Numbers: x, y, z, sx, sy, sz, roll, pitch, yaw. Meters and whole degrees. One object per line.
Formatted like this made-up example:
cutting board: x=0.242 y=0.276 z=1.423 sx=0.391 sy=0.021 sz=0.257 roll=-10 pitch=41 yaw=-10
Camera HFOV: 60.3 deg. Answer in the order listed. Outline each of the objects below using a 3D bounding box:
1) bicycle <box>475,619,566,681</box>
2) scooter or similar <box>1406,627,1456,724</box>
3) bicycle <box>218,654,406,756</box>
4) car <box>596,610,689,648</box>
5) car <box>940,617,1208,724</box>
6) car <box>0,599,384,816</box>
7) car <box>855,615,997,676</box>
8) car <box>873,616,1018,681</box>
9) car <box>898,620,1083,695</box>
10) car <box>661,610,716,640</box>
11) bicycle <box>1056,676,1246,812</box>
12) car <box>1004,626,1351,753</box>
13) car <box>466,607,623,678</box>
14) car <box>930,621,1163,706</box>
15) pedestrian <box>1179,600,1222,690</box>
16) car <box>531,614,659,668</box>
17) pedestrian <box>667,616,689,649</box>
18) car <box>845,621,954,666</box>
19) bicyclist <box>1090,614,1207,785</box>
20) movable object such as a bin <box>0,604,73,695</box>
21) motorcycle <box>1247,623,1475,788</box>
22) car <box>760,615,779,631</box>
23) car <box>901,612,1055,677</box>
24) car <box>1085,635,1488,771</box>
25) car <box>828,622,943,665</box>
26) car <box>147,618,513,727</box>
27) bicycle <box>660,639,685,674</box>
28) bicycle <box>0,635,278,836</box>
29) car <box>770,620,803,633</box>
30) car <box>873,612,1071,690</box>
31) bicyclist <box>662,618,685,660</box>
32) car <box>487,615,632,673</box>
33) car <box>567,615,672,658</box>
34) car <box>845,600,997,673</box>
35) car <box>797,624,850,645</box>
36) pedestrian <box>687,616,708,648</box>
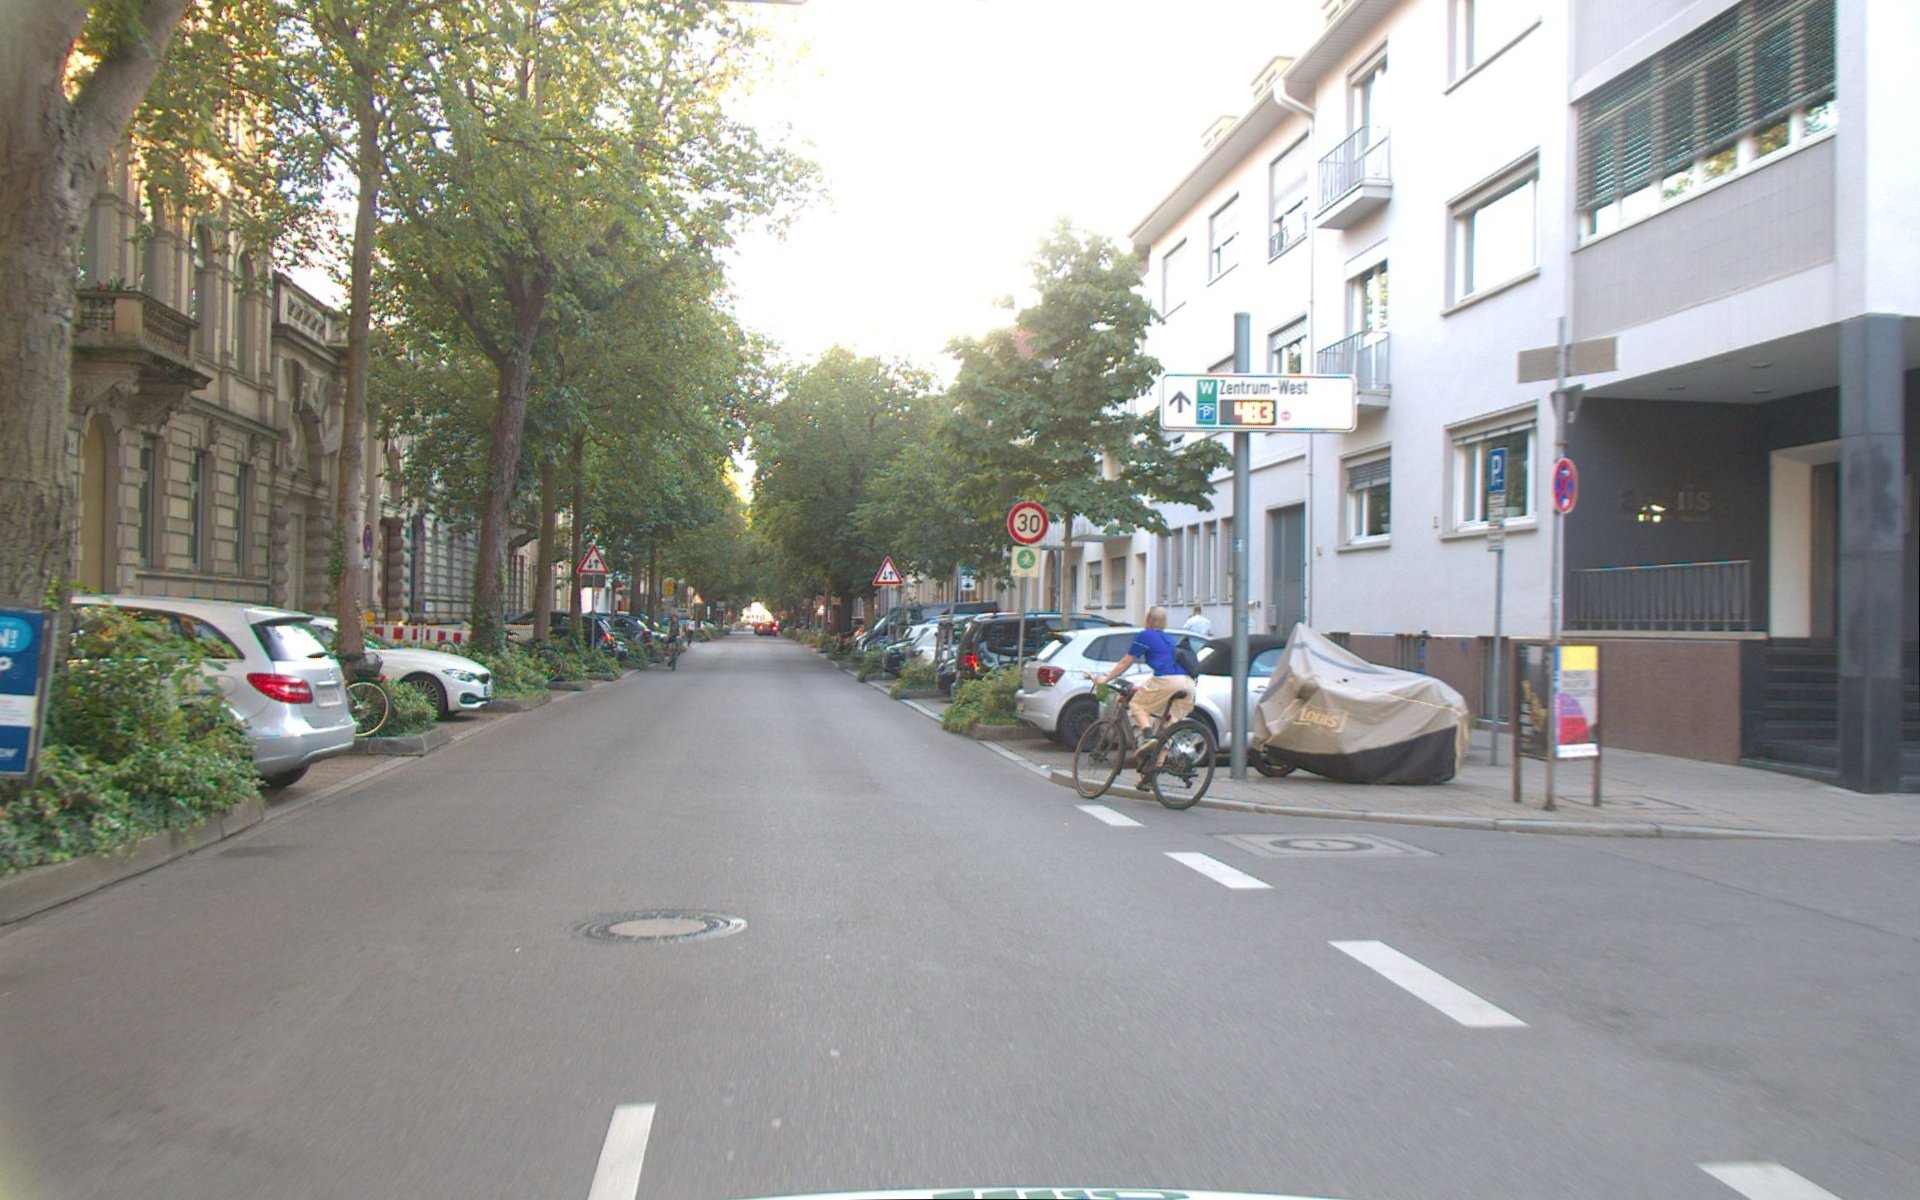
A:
bicycle: x=-9.117 y=1.046 z=34.347 sx=1.735 sy=1.254 sz=0.500 roll=1 pitch=-2 yaw=-2
scooter or similar: x=6.406 y=1.007 z=22.535 sx=0.338 sy=1.261 sz=1.421 roll=0 pitch=-1 yaw=3
bicycle: x=-6.980 y=1.129 z=17.874 sx=1.760 sy=1.027 sz=0.597 roll=2 pitch=-2 yaw=-7
car: x=-15.716 y=1.436 z=81.998 sx=4.341 sy=1.680 sz=1.870 roll=2 pitch=-1 yaw=-7
car: x=1.781 y=1.108 z=26.697 sx=4.031 sy=1.646 sz=1.958 roll=0 pitch=-1 yaw=-7
car: x=-6.940 y=0.803 z=13.133 sx=4.089 sy=1.584 sz=1.824 roll=1 pitch=-1 yaw=-5
car: x=-1.067 y=1.379 z=50.551 sx=4.079 sy=1.606 sz=1.965 roll=-3 pitch=-1 yaw=-9
car: x=-0.441 y=1.373 z=47.503 sx=3.892 sy=1.606 sz=1.848 roll=-3 pitch=-1 yaw=-9
car: x=0.662 y=1.293 z=37.812 sx=3.995 sy=1.454 sz=1.816 roll=-3 pitch=-1 yaw=-6
car: x=-23.872 y=2.234 z=145.577 sx=4.594 sy=2.521 sz=1.996 roll=1 pitch=-2 yaw=-8
bicycle: x=1.566 y=1.175 z=13.924 sx=0.663 sy=1.048 sz=1.961 roll=3 pitch=-3 yaw=-25
car: x=2.600 y=1.070 z=20.283 sx=3.911 sy=1.463 sz=1.791 roll=0 pitch=-1 yaw=-7
car: x=-11.414 y=1.167 z=45.688 sx=3.891 sy=1.624 sz=1.777 roll=5 pitch=-2 yaw=-7
car: x=1.633 y=1.198 z=32.061 sx=4.234 sy=1.522 sz=1.790 roll=-1 pitch=-1 yaw=-9
pedestrian: x=4.937 y=0.922 z=34.010 sx=0.684 sy=1.827 sz=0.879 roll=0 pitch=-1 yaw=-7
car: x=-12.765 y=1.417 z=58.045 sx=4.121 sy=1.701 sz=1.904 roll=2 pitch=-1 yaw=-7
pedestrian: x=-15.023 y=1.717 z=88.103 sx=0.812 sy=1.767 sz=0.796 roll=-1 pitch=-1 yaw=27
car: x=-2.321 y=1.654 z=62.932 sx=3.914 sy=1.463 sz=1.922 roll=-3 pitch=-1 yaw=-9
bicyclist: x=1.580 y=0.838 z=13.934 sx=0.663 sy=1.388 sz=0.770 roll=3 pitch=-3 yaw=-25
movable object such as a bin: x=-11.801 y=0.600 z=20.668 sx=0.785 sy=1.080 sz=1.314 roll=3 pitch=-1 yaw=-8
motorcycle: x=3.559 y=0.922 z=14.853 sx=1.867 sy=1.417 sz=1.000 roll=0 pitch=-1 yaw=6
car: x=-19.265 y=2.353 z=167.224 sx=1.919 sy=1.593 sz=4.275 roll=-1 pitch=-1 yaw=-7
car: x=0.445 y=1.133 z=42.913 sx=3.722 sy=1.448 sz=1.694 roll=-3 pitch=-1 yaw=-9
car: x=3.406 y=1.072 z=17.711 sx=3.908 sy=1.356 sz=1.792 roll=0 pitch=-1 yaw=-4
car: x=-2.964 y=1.698 z=65.301 sx=4.320 sy=1.418 sz=1.881 roll=-3 pitch=-1 yaw=-10
car: x=-8.757 y=1.008 z=23.333 sx=4.426 sy=1.415 sz=1.914 roll=1 pitch=-1 yaw=-6
bicycle: x=-8.860 y=1.734 z=51.075 sx=0.659 sy=1.011 sz=1.755 roll=0 pitch=-1 yaw=-7
bicycle: x=-5.899 y=0.946 z=11.800 sx=1.763 sy=1.350 sz=0.771 roll=1 pitch=-1 yaw=-14
car: x=-21.964 y=3.327 z=209.433 sx=4.188 sy=1.593 sz=1.959 roll=-1 pitch=-1 yaw=-8
car: x=0.251 y=1.208 z=40.036 sx=4.505 sy=1.606 sz=1.940 roll=-3 pitch=-1 yaw=-9
bicyclist: x=-8.860 y=1.201 z=51.123 sx=0.659 sy=1.286 sz=0.647 roll=0 pitch=-1 yaw=-7
car: x=-11.788 y=1.280 z=48.886 sx=3.890 sy=1.411 sz=1.762 roll=4 pitch=-1 yaw=-7
car: x=-13.319 y=1.437 z=64.937 sx=3.871 sy=1.559 sz=1.904 roll=2 pitch=-2 yaw=-8
car: x=-1.284 y=1.165 z=52.933 sx=4.602 sy=2.046 sz=2.033 roll=-3 pitch=-1 yaw=-8
car: x=-10.285 y=2.597 z=124.842 sx=3.806 sy=1.465 sz=1.843 roll=-1 pitch=-1 yaw=-11
pedestrian: x=-14.046 y=1.733 z=88.447 sx=0.812 sy=1.700 sz=0.796 roll=-1 pitch=-1 yaw=27
